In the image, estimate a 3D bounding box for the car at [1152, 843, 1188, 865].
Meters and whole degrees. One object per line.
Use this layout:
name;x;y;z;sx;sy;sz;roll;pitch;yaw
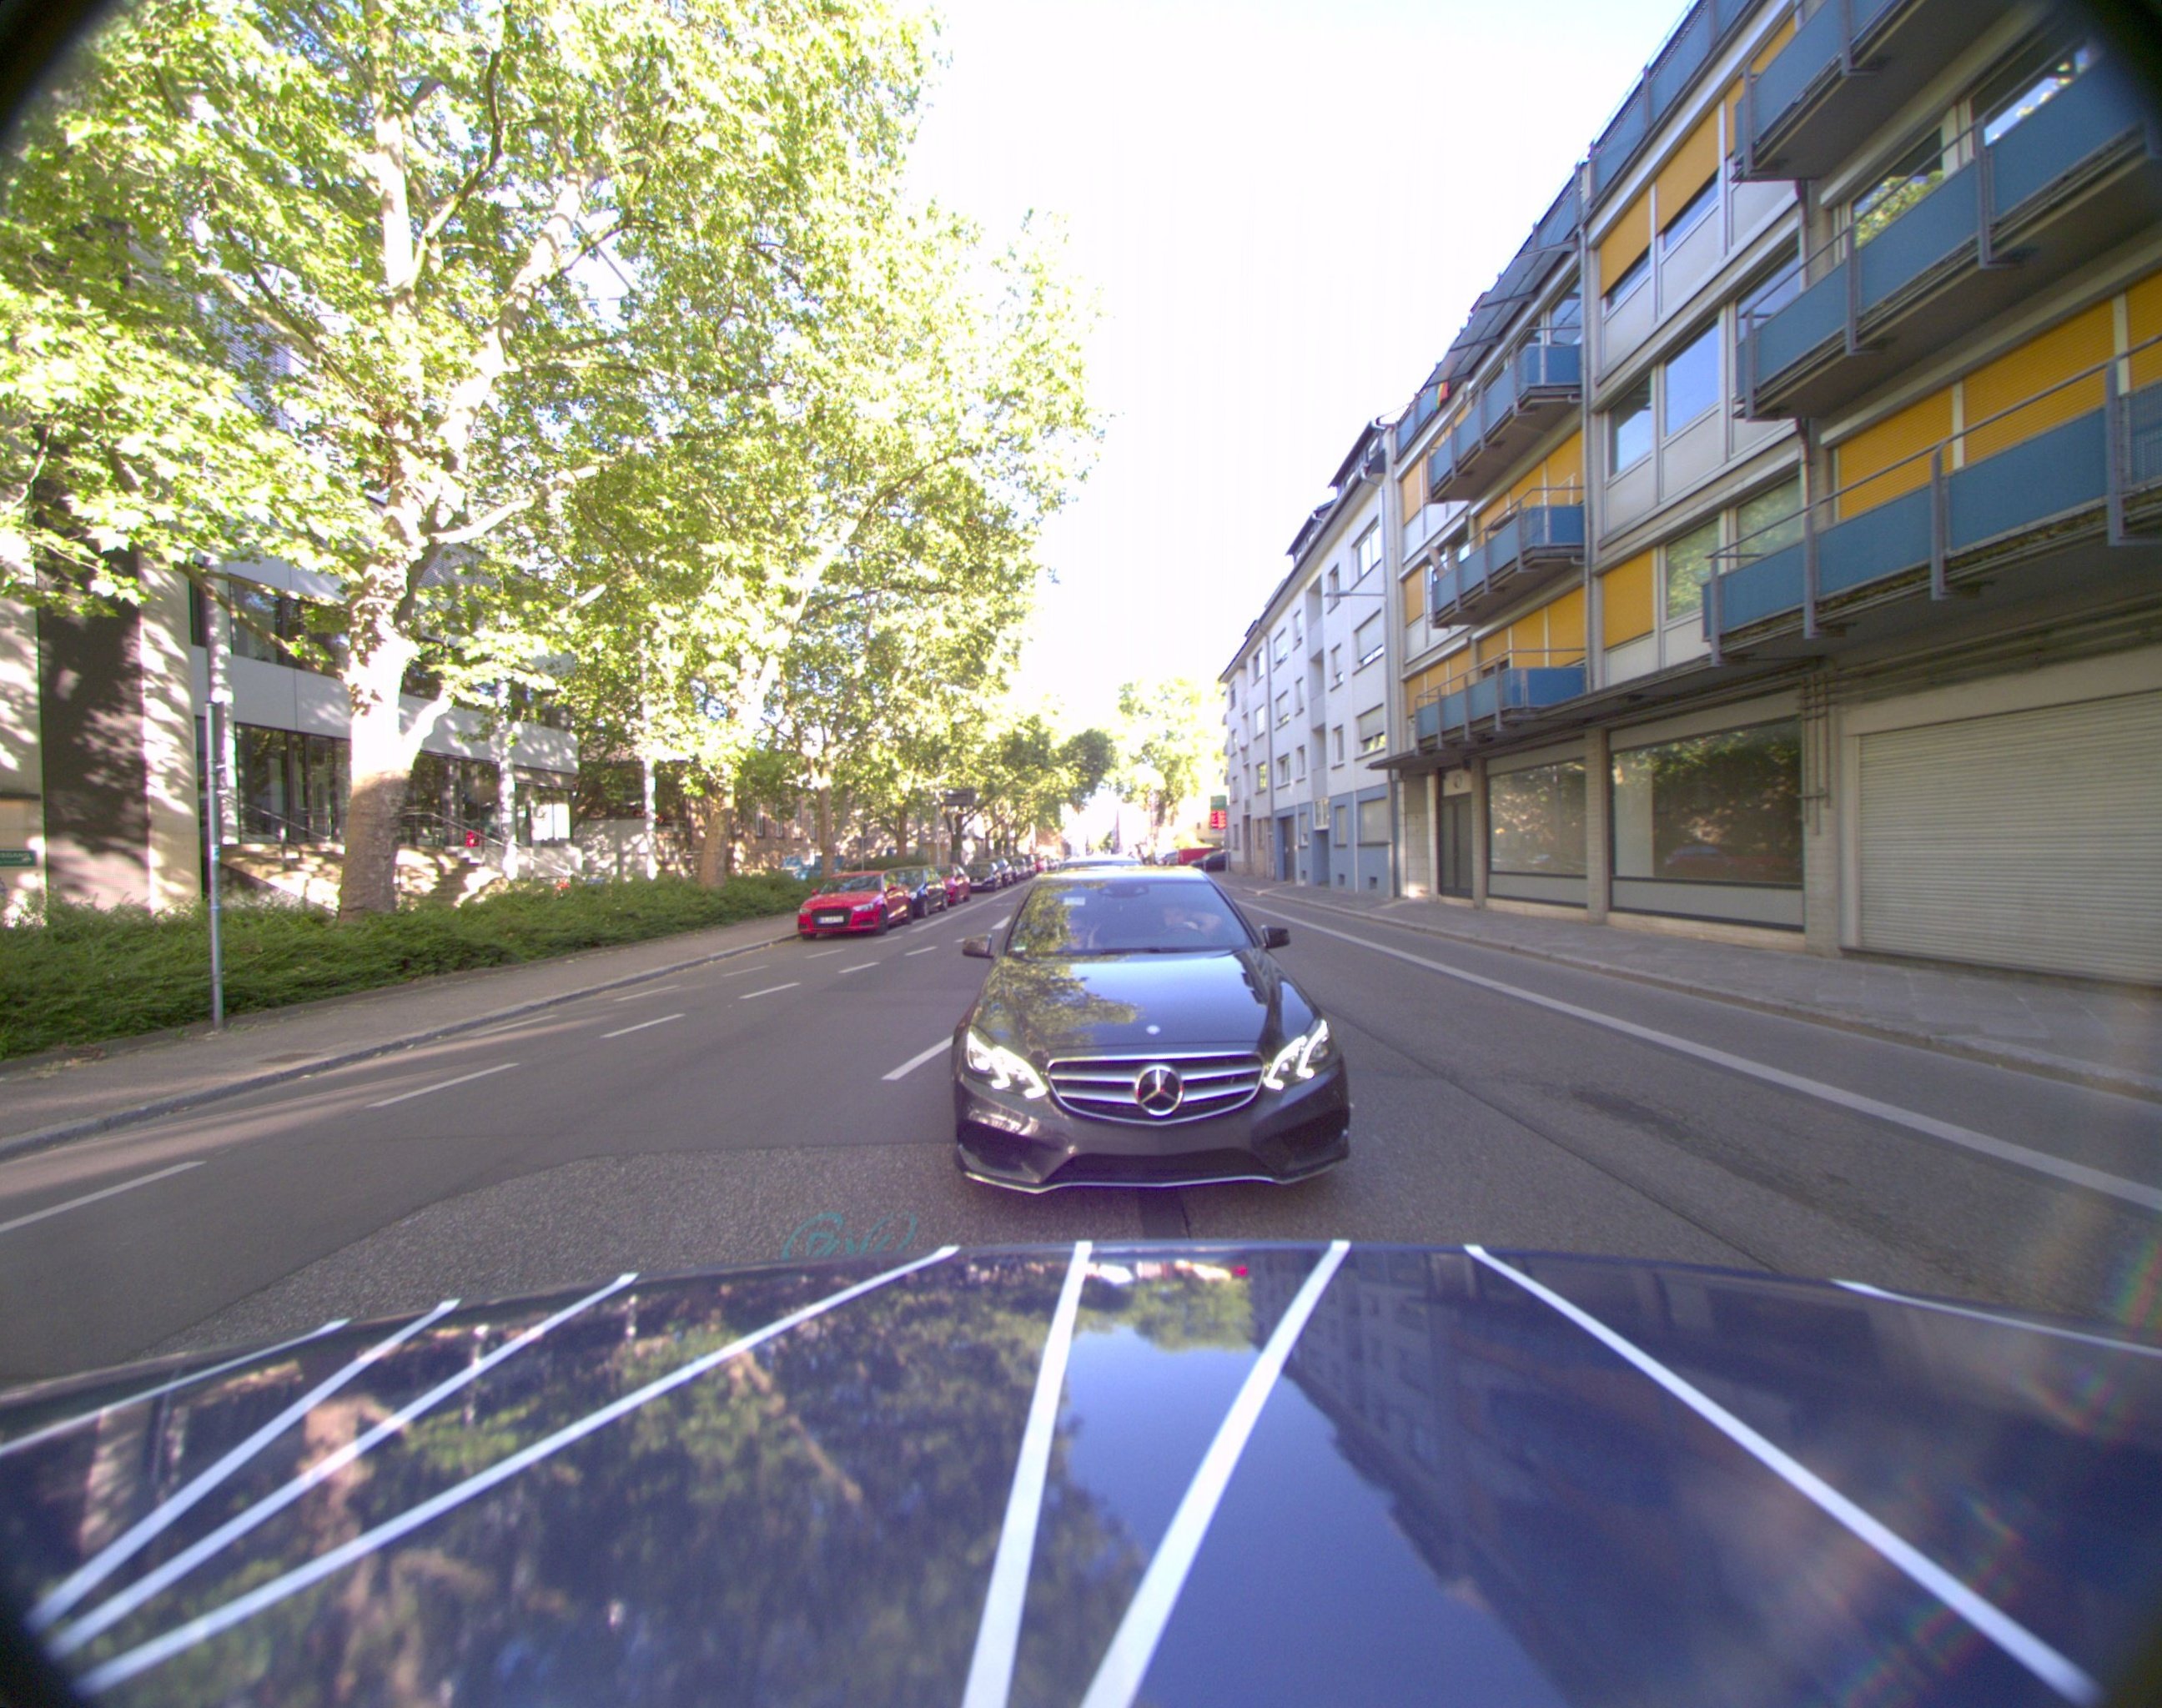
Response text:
car;10.489;-0.001;89.507;3.996;2.505;2.000;-2;1;2

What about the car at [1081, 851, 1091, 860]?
car;0.916;0.278;145.121;1.866;1.632;4.481;-2;0;1

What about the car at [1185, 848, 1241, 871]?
car;10.175;0.421;58.871;3.996;1.543;2.000;-2;1;2

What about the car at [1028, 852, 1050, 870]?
car;-4.198;0.699;76.278;1.866;1.632;4.481;-2;0;1

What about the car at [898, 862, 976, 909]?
car;-5.086;1.063;27.425;1.866;1.442;4.481;-2;0;1

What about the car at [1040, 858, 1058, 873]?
car;-3.765;1.315;89.984;1.866;1.632;4.481;-2;0;1

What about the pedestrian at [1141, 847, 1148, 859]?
pedestrian;10.739;-0.207;128.656;1.048;2.002;0.733;-3;2;-45

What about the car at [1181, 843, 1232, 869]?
car;10.549;0.152;64.024;3.996;1.936;2.000;-2;1;2

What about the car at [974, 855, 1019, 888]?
car;-4.620;0.904;42.206;1.866;1.658;4.481;-2;0;1

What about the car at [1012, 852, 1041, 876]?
car;-4.245;0.752;59.755;1.866;1.749;4.481;-2;0;1

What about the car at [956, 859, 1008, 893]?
car;-4.755;1.021;37.172;1.866;1.442;4.481;-2;0;1

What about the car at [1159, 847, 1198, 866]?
car;10.590;0.271;82.486;3.996;1.936;2.000;-2;1;2

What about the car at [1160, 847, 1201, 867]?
car;10.461;0.304;79.997;3.996;1.936;2.000;-2;1;2

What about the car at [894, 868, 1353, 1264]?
car;0.206;0.932;5.407;1.866;1.492;4.481;-2;0;1

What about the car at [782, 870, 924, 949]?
car;-5.102;1.176;17.730;1.866;1.442;4.481;-2;0;1

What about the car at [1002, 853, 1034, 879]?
car;-4.502;0.815;54.800;1.866;1.749;4.481;-2;0;1

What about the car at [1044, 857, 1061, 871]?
car;-3.655;1.230;96.783;1.866;1.632;4.481;-2;0;1

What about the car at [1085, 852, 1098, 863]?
car;1.528;0.494;111.172;1.866;1.632;4.481;-2;0;1

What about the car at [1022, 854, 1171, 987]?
car;0.226;0.857;11.930;1.866;1.630;4.303;-2;0;1

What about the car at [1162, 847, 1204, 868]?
car;10.332;0.341;77.146;3.996;1.936;2.000;-2;1;2

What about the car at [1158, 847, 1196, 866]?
car;10.736;0.238;84.980;3.996;1.936;2.000;-2;1;2

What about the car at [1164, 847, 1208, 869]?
car;10.248;0.374;74.505;3.996;1.936;2.000;-2;1;2

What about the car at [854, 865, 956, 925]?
car;-5.042;1.122;22.381;1.866;1.442;4.481;-2;0;1

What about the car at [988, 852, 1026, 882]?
car;-4.632;0.780;48.133;1.866;1.749;4.481;-2;0;1

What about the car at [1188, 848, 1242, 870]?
car;10.716;0.374;61.193;3.996;1.543;2.000;-2;1;2

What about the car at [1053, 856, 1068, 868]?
car;-2.823;1.105;105.190;1.866;1.632;4.481;-2;0;1
